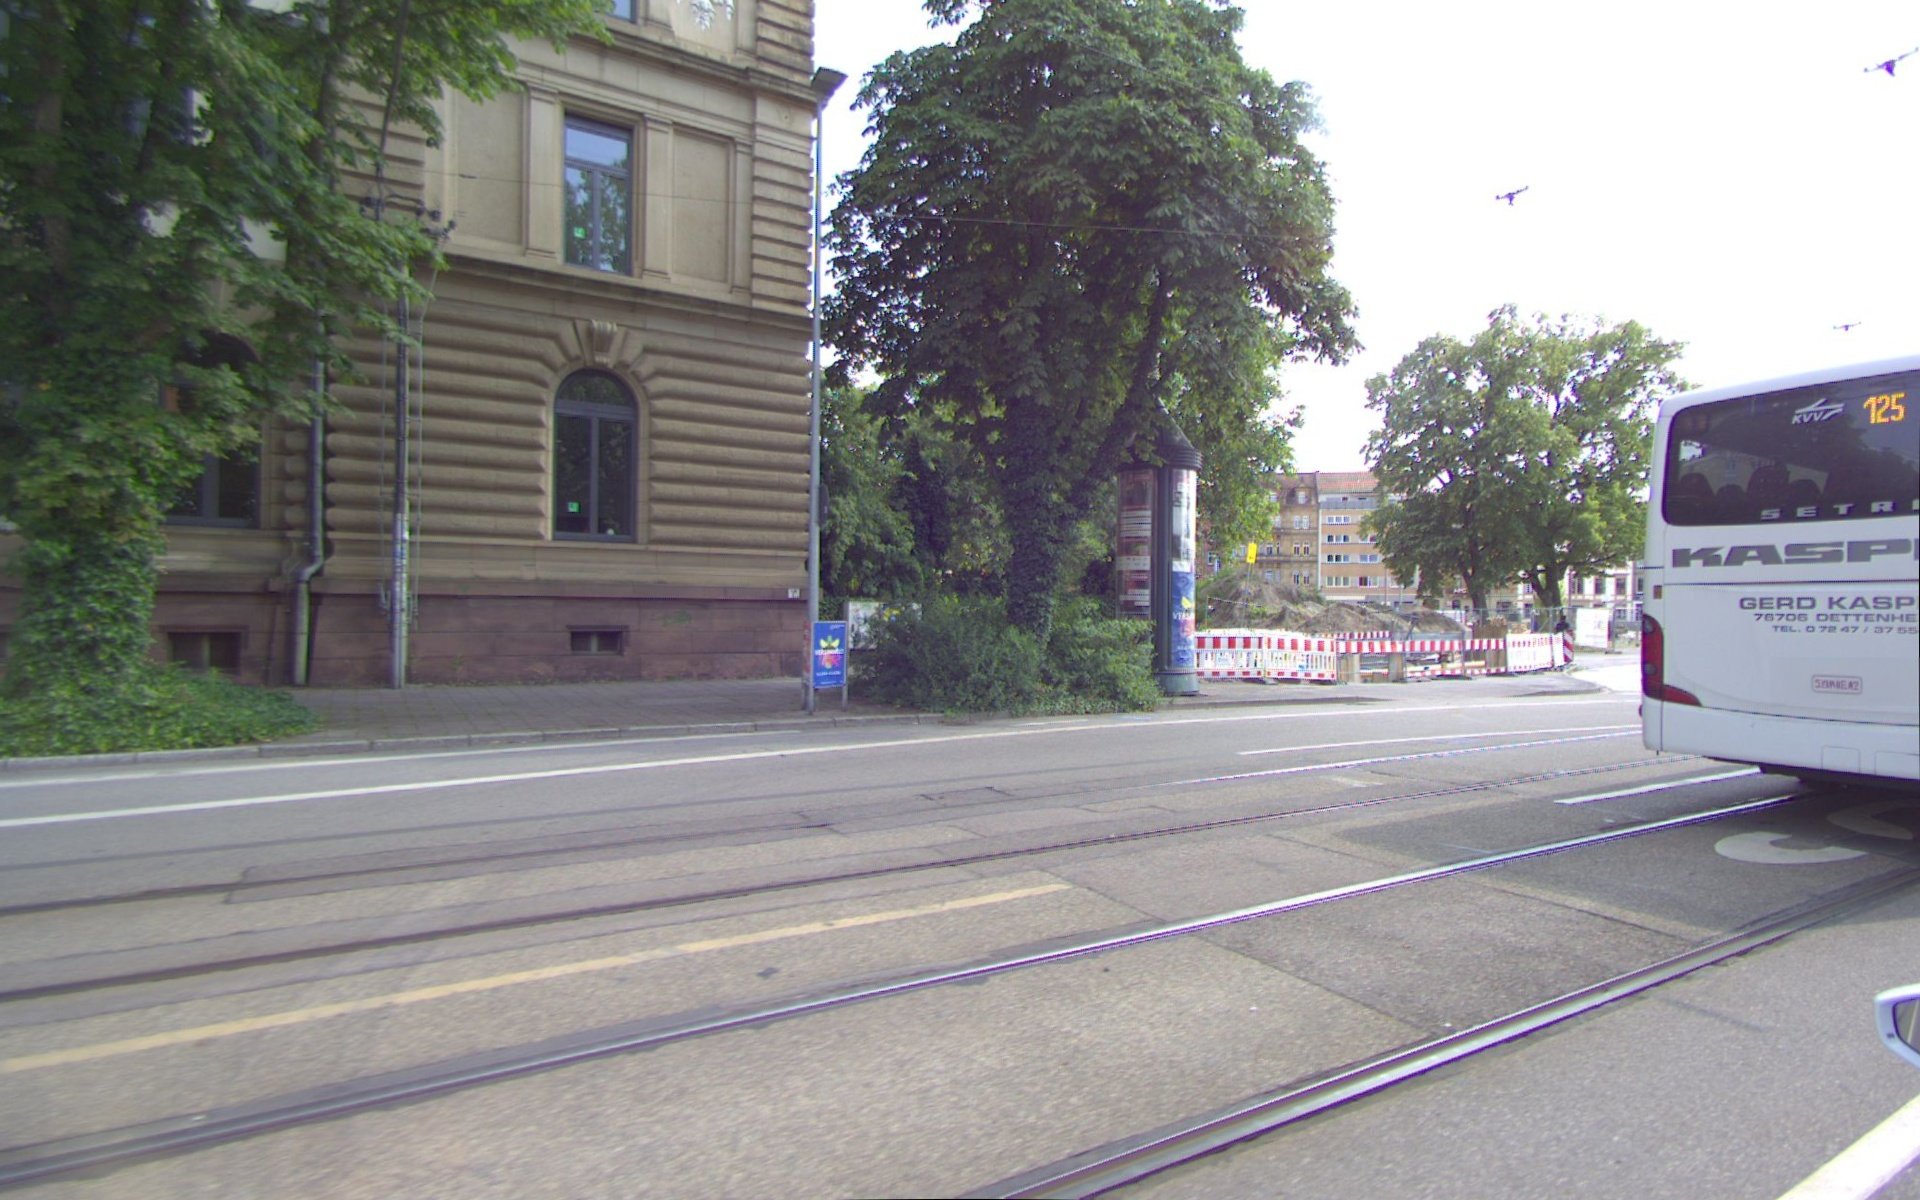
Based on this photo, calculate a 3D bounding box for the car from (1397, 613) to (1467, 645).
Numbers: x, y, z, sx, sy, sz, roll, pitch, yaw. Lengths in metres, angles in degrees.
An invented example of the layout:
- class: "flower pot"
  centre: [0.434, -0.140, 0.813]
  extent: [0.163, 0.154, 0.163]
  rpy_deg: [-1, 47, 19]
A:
- class: "car"
  centre: [36.110, 2.213, 76.889]
  extent: [4.543, 2.450, 2.056]
  rpy_deg: [1, 0, -14]

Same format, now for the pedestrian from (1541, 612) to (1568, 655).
- class: "pedestrian"
  centre: [23.630, 1.325, 39.931]
  extent: [0.773, 1.674, 0.580]
  rpy_deg: [0, 0, 5]

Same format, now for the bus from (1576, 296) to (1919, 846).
- class: "bus"
  centre: [10.683, -0.064, 9.875]
  extent: [12.073, 3.372, 2.901]
  rpy_deg: [1, 0, -33]
